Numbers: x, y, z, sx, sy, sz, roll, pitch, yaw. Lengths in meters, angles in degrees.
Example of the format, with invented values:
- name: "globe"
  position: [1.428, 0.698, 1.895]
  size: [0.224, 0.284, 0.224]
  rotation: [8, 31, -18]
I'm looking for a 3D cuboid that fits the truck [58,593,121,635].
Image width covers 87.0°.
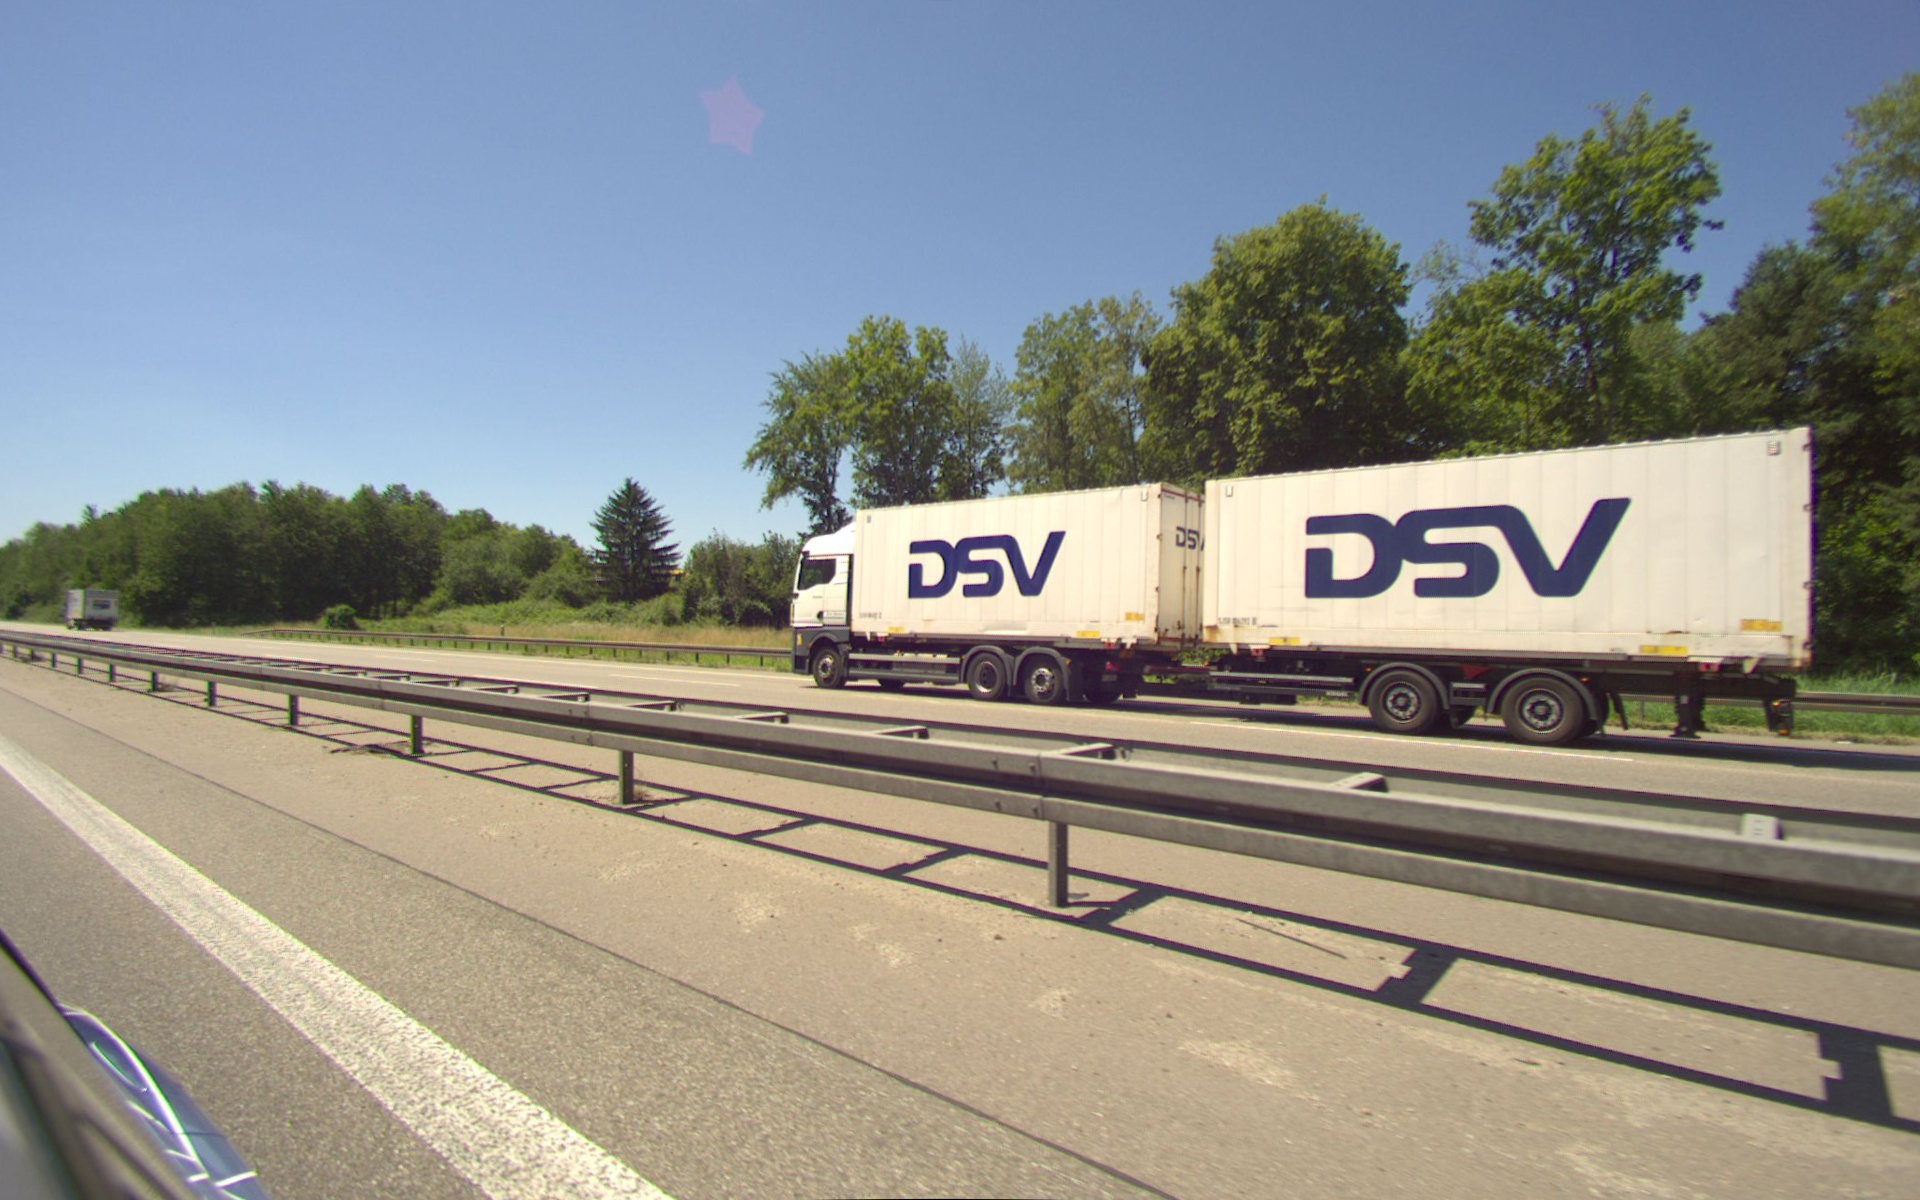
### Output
- name: "truck"
  position: [-80.285, 1.264, 93.234]
  size: [10.265, 3.646, 2.963]
  rotation: [0, 0, 41]

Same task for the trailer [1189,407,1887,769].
- name: "trailer"
  position: [7.864, -0.075, 15.024]
  size: [8.555, 4.020, 2.551]
  rotation: [-1, -2, 41]

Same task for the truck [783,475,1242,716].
- name: "truck"
  position: [0.566, -0.001, 21.357]
  size: [10.333, 4.038, 2.553]
  rotation: [-1, -2, 41]
